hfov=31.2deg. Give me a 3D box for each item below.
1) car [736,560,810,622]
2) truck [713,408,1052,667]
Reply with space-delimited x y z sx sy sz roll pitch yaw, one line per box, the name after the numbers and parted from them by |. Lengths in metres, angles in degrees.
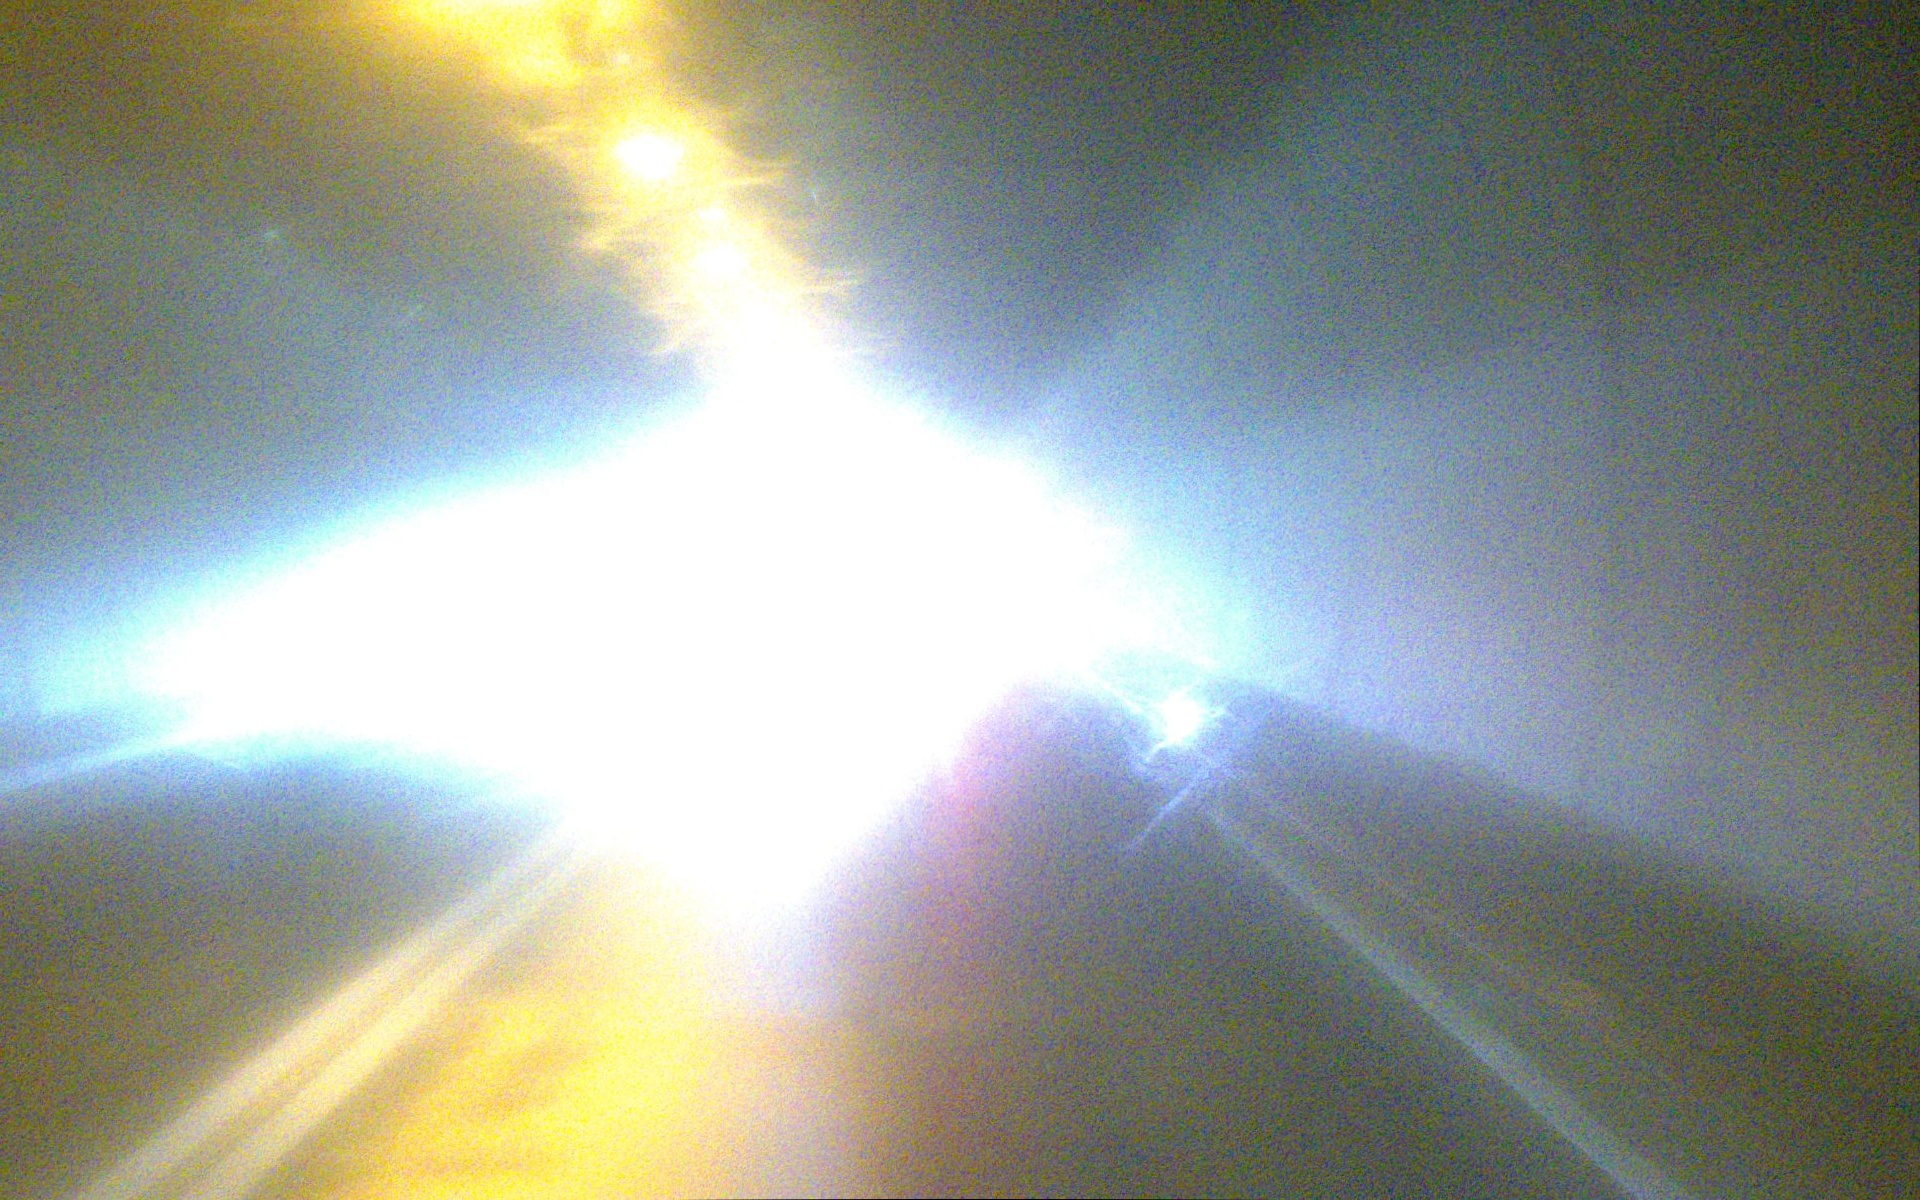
-4.898 -0.255 90.462 1.748 1.579 4.000 1 1 -1 | car
-0.856 -0.721 40.657 3.535 2.684 8.956 -1 1 0 | truck
